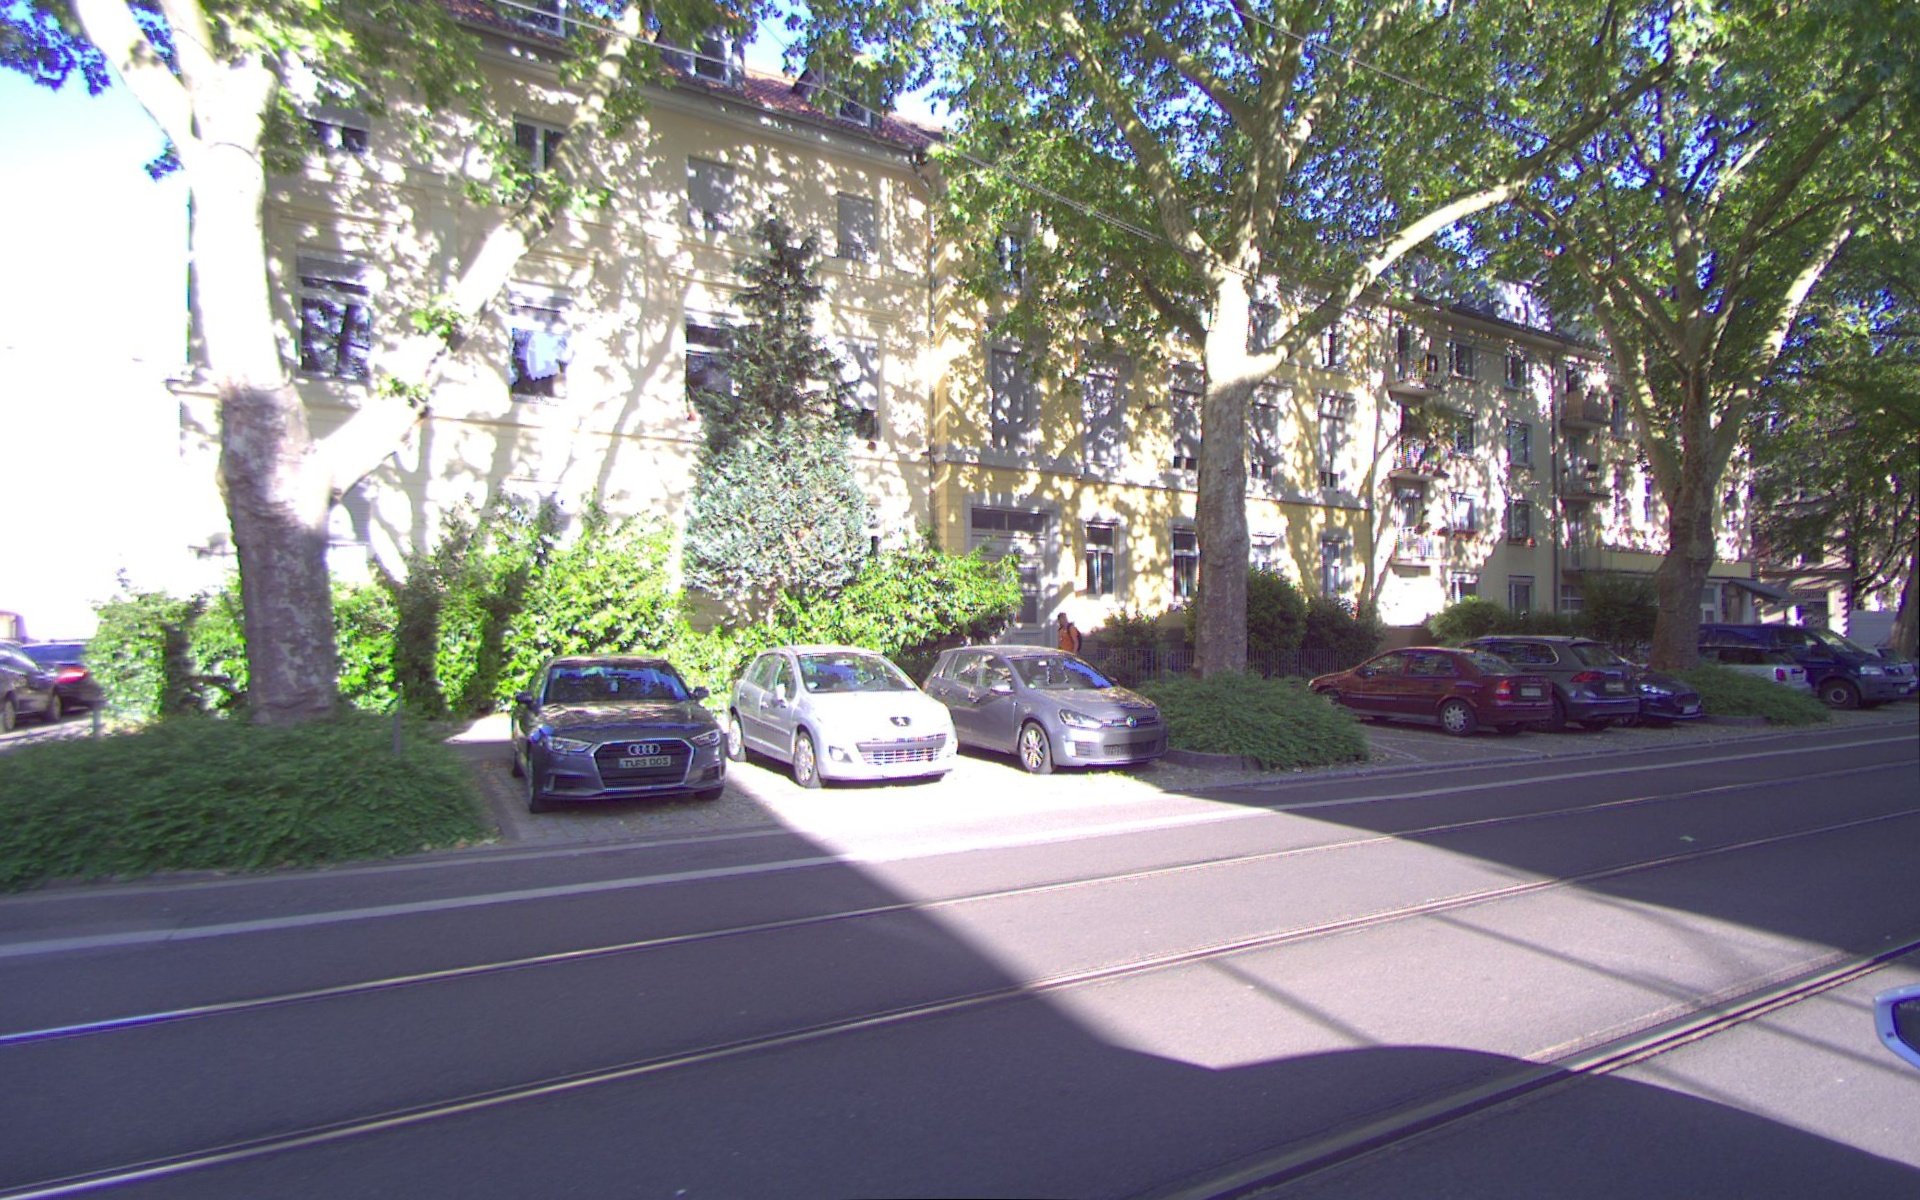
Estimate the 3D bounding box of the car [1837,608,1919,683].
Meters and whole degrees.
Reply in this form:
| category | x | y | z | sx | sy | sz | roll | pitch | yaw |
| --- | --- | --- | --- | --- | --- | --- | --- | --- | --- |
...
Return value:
| category | x | y | z | sx | sy | sz | roll | pitch | yaw |
| --- | --- | --- | --- | --- | --- | --- | --- | --- | --- |
| car | 32.990 | 1.505 | 32.453 | 2.428 | 2.441 | 6.598 | 1 | -1 | -29 |

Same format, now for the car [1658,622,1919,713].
| category | x | y | z | sx | sy | sz | roll | pitch | yaw |
| --- | --- | --- | --- | --- | --- | --- | --- | --- | --- |
| car | 20.197 | 1.557 | 24.687 | 1.955 | 1.949 | 4.656 | 1 | -1 | -28 |

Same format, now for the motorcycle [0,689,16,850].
| category | x | y | z | sx | sy | sz | roll | pitch | yaw |
| --- | --- | --- | --- | --- | --- | --- | --- | --- | --- |
| motorcycle | -7.986 | 1.221 | 6.635 | 2.356 | 1.162 | 0.882 | 1 | -2 | -23 |

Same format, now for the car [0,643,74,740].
| category | x | y | z | sx | sy | sz | roll | pitch | yaw |
| --- | --- | --- | --- | --- | --- | --- | --- | --- | --- |
| car | -15.848 | 1.469 | 16.078 | 1.673 | 1.437 | 3.761 | -2 | -2 | -29 |

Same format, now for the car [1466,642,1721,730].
| category | x | y | z | sx | sy | sz | roll | pitch | yaw |
| --- | --- | --- | --- | --- | --- | --- | --- | --- | --- |
| car | 12.363 | 1.611 | 19.852 | 1.798 | 1.440 | 3.900 | 1 | -1 | -31 |

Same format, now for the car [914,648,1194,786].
| category | x | y | z | sx | sy | sz | roll | pitch | yaw |
| --- | --- | --- | --- | --- | --- | --- | --- | --- | --- |
| car | 1.058 | 1.386 | 13.181 | 1.784 | 1.481 | 3.903 | 1 | -3 | -29 |

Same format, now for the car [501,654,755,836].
| category | x | y | z | sx | sy | sz | roll | pitch | yaw |
| --- | --- | --- | --- | --- | --- | --- | --- | --- | --- |
| car | -3.618 | 1.313 | 10.463 | 1.825 | 1.350 | 3.903 | 1 | -1 | -29 |

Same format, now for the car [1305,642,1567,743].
| category | x | y | z | sx | sy | sz | roll | pitch | yaw |
| --- | --- | --- | --- | --- | --- | --- | --- | --- | --- |
| car | 8.219 | 1.521 | 17.687 | 1.728 | 1.461 | 3.902 | 1 | -1 | -29 |

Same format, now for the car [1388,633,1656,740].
| category | x | y | z | sx | sy | sz | roll | pitch | yaw |
| --- | --- | --- | --- | --- | --- | --- | --- | --- | --- |
| car | 10.246 | 1.491 | 18.611 | 1.857 | 1.648 | 3.976 | 1 | -1 | -30 |

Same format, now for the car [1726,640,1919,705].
| category | x | y | z | sx | sy | sz | roll | pitch | yaw |
| --- | --- | --- | --- | --- | --- | --- | --- | --- | --- |
| car | 22.483 | 1.830 | 26.141 | 1.618 | 1.449 | 3.717 | 1 | -1 | -30 |

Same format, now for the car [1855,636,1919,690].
| category | x | y | z | sx | sy | sz | roll | pitch | yaw |
| --- | --- | --- | --- | --- | --- | --- | --- | --- | --- |
| car | 28.546 | 1.853 | 28.876 | 1.656 | 1.518 | 3.904 | 1 | -1 | -28 |

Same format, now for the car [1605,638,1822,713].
| category | x | y | z | sx | sy | sz | roll | pitch | yaw |
| --- | --- | --- | --- | --- | --- | --- | --- | --- | --- |
| car | 17.550 | 1.691 | 23.567 | 1.726 | 1.518 | 3.717 | 1 | -1 | -30 |

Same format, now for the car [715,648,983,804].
| category | x | y | z | sx | sy | sz | roll | pitch | yaw |
| --- | --- | --- | --- | --- | --- | --- | --- | --- | --- |
| car | -1.479 | 1.332 | 11.931 | 1.779 | 1.472 | 3.904 | 1 | -2 | -30 |

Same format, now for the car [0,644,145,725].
| category | x | y | z | sx | sy | sz | roll | pitch | yaw |
| --- | --- | --- | --- | --- | --- | --- | --- | --- | --- |
| car | -18.028 | 1.654 | 20.265 | 1.672 | 1.437 | 3.906 | -1 | -2 | -27 |

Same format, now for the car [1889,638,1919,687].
| category | x | y | z | sx | sy | sz | roll | pitch | yaw |
| --- | --- | --- | --- | --- | --- | --- | --- | --- | --- |
| car | 31.112 | 1.960 | 30.578 | 1.659 | 1.518 | 3.898 | 1 | -1 | -32 |

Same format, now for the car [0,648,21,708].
| category | x | y | z | sx | sy | sz | roll | pitch | yaw |
| --- | --- | --- | --- | --- | --- | --- | --- | --- | --- |
| car | -26.161 | 2.081 | 25.762 | 1.686 | 1.570 | 3.912 | 1 | -1 | -22 |

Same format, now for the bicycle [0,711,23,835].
| category | x | y | z | sx | sy | sz | roll | pitch | yaw |
| --- | --- | --- | --- | --- | --- | --- | --- | --- | --- |
| bicycle | -8.512 | 1.367 | 7.591 | 2.004 | 0.953 | 0.540 | 1 | -2 | -23 |

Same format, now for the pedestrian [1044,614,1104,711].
| category | x | y | z | sx | sy | sz | roll | pitch | yaw |
| --- | --- | --- | --- | --- | --- | --- | --- | --- | --- |
| pedestrian | 2.286 | 1.239 | 20.180 | 0.830 | 1.874 | 0.858 | 1 | -2 | -37 |
